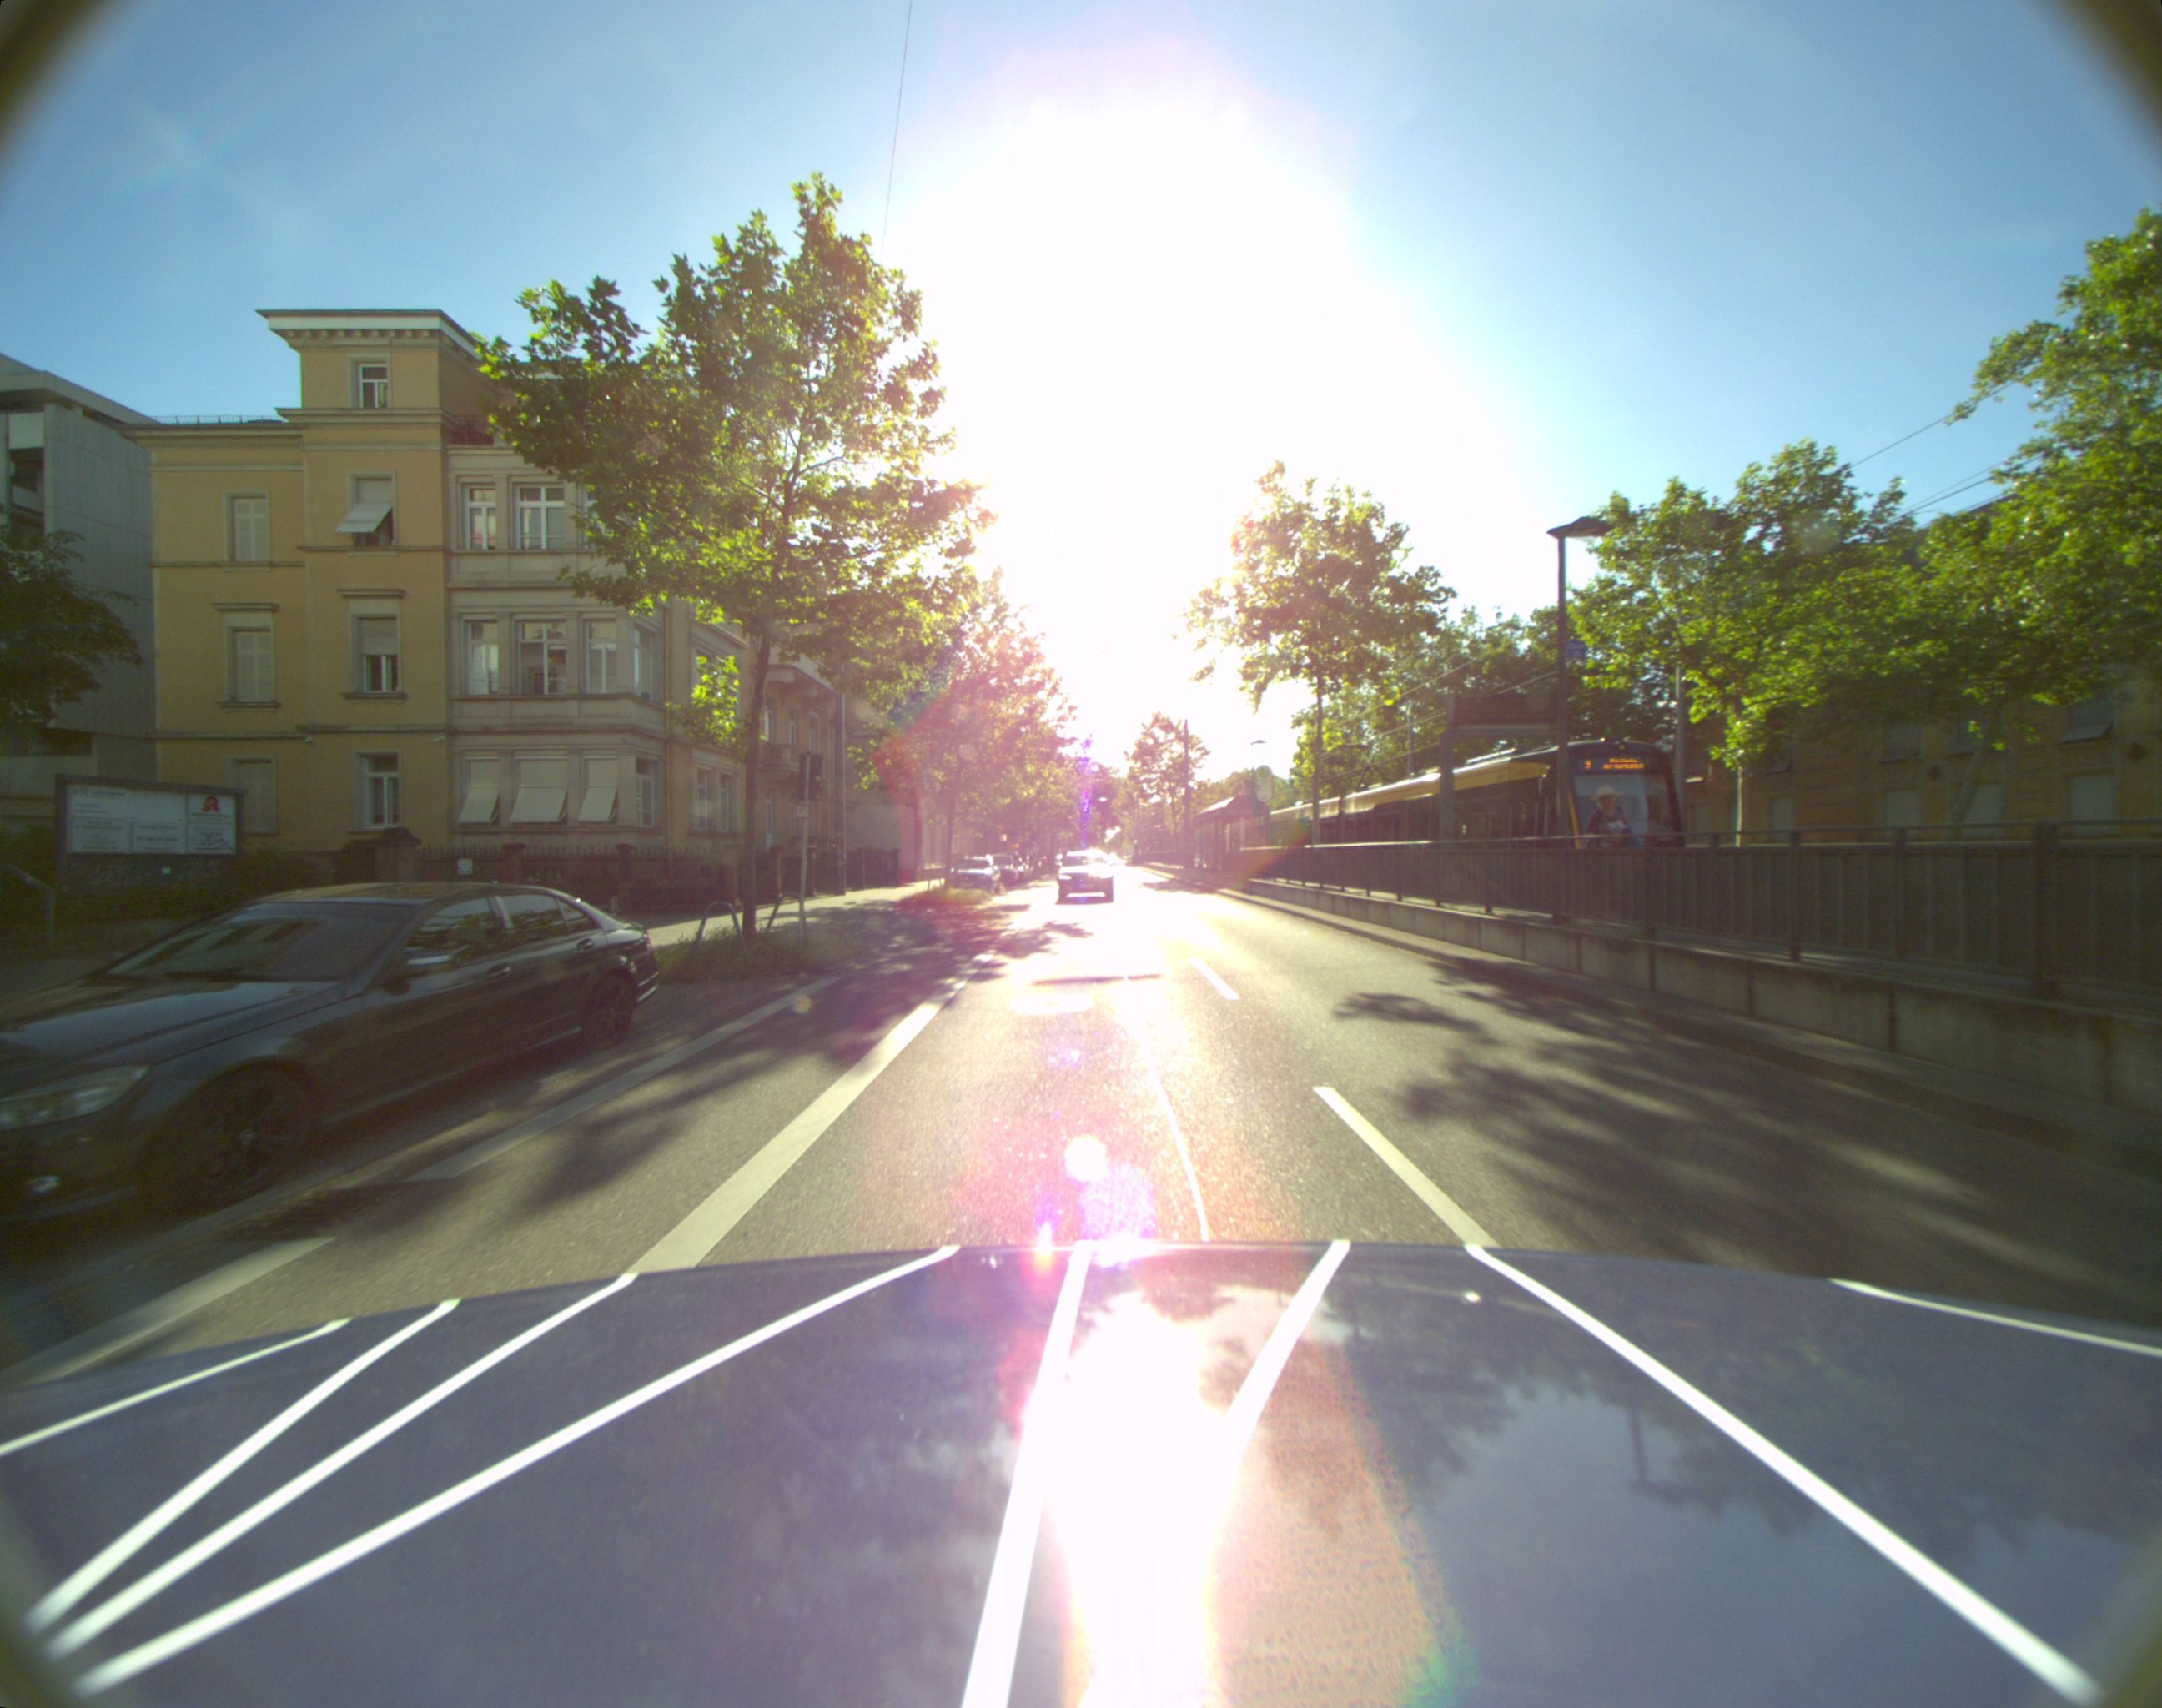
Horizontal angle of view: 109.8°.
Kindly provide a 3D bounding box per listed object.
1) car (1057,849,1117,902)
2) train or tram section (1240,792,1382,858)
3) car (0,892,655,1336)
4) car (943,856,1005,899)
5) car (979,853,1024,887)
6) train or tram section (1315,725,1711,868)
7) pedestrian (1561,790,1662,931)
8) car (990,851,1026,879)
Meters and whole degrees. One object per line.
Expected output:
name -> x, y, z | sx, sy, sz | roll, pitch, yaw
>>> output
car -> 0.229, 0.695, 27.050 | 1.914, 1.695, 4.273 | -1, 1, 1
train or tram section -> 10.468, -1.182, 36.940 | 2.569, 2.517, 15.072 | -1, 0, 1
car -> -4.780, 1.055, 4.732 | 1.781, 1.373, 4.276 | -1, 0, 1
car -> -4.314, 0.900, 31.225 | 1.839, 1.556, 4.273 | -1, 0, 1
car -> -4.168, 0.801, 40.485 | 1.839, 1.666, 4.273 | -1, 0, 1
train or tram section -> 10.239, -1.088, 21.580 | 2.569, 2.549, 15.674 | -1, 0, 1
pedestrian -> 6.403, 0.072, 9.211 | 0.700, 1.626, 0.761 | -1, 1, 1
car -> -4.576, 0.650, 48.173 | 1.839, 1.666, 4.273 | 0, 0, 1
